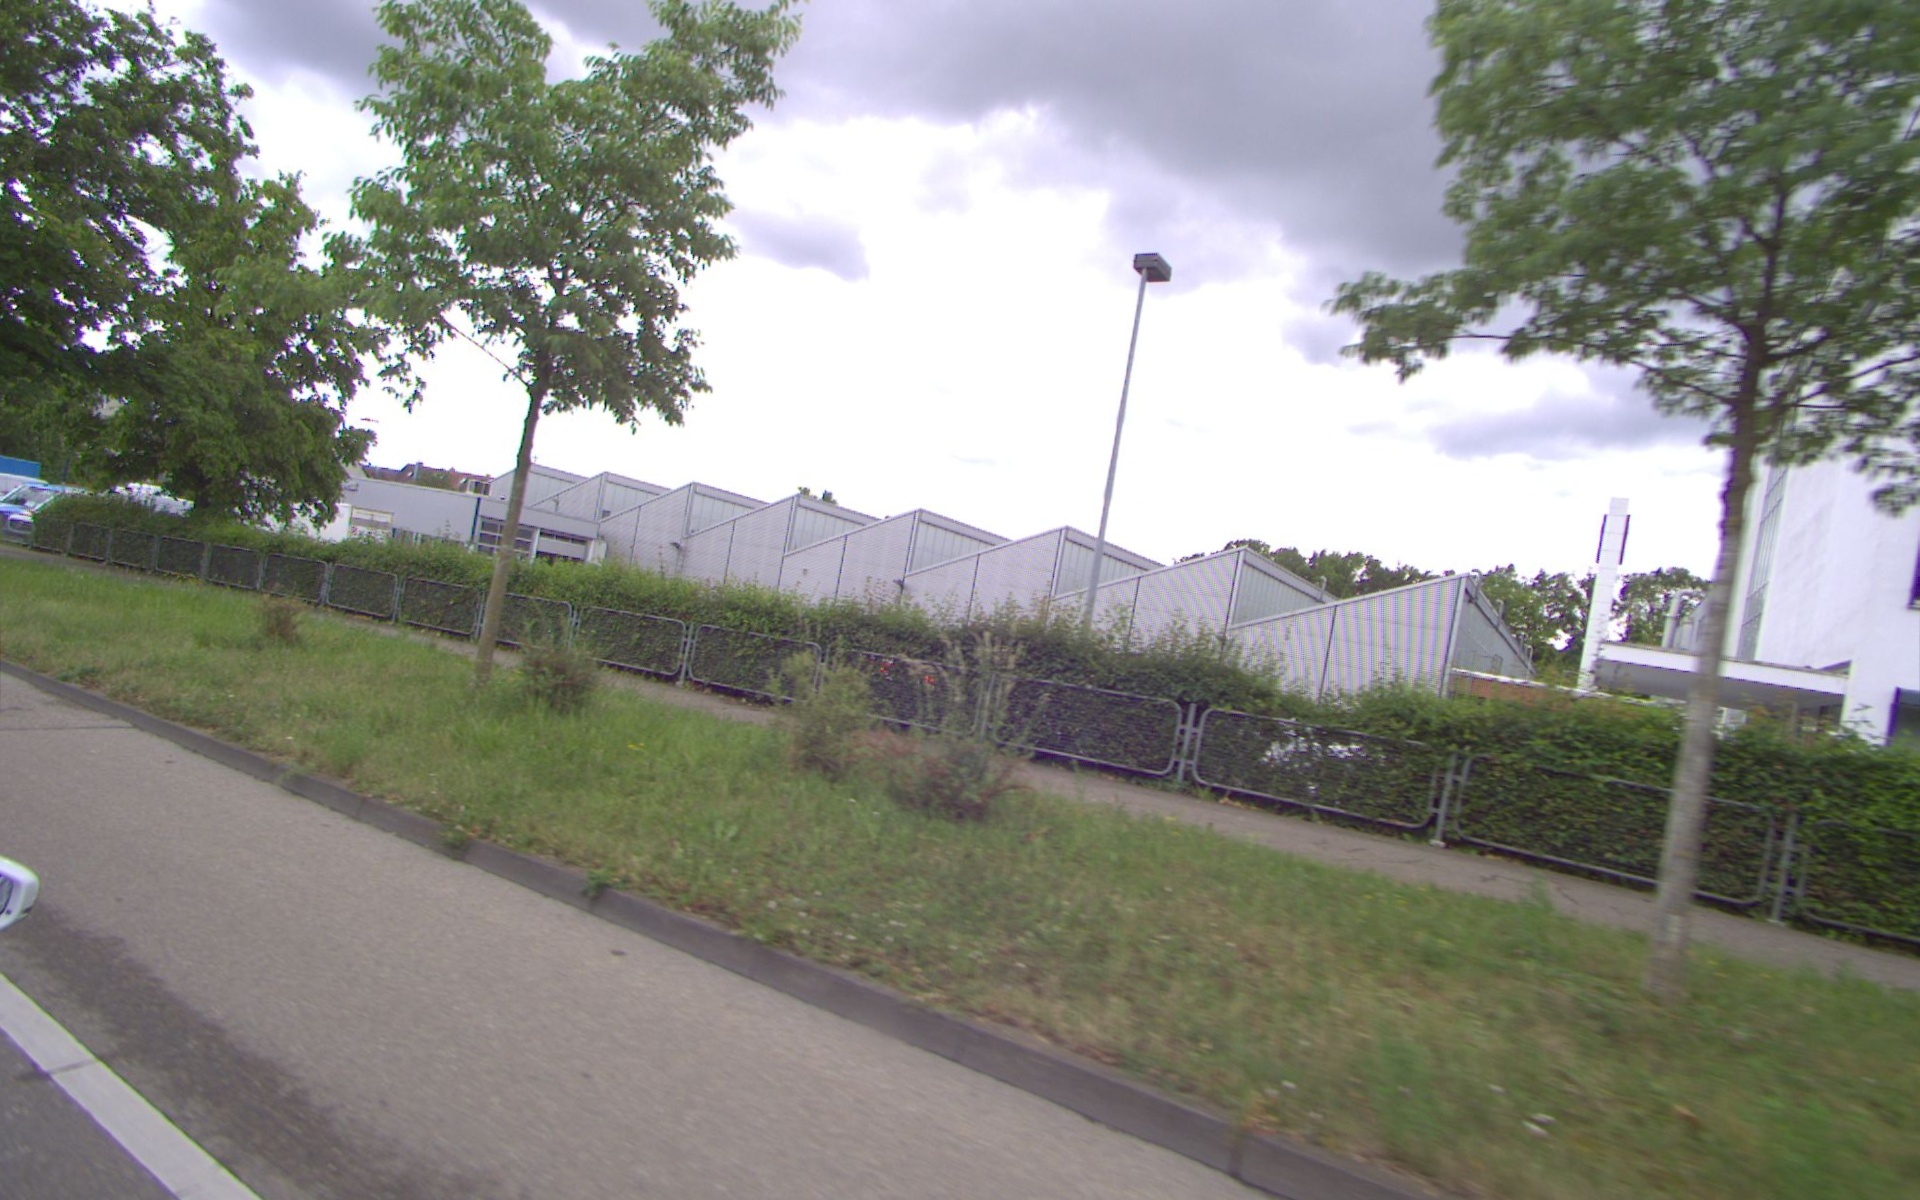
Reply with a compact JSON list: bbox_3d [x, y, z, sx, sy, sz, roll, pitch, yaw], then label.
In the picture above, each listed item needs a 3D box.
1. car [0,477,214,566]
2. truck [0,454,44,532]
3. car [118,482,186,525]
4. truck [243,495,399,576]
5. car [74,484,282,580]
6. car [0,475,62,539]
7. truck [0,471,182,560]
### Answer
[{"bbox_3d":[-28.839,-2.549,34.040,2.032,1.978,5.836,8,-2,9],"label":"car"},{"bbox_3d":[-47.446,-5.460,46.595,2.569,3.518,7.193,8,-1,6],"label":"truck"},{"bbox_3d":[-62.401,-7.396,77.817,2.232,2.709,5.422,8,1,-20],"label":"car"},{"bbox_3d":[-36.593,-3.719,57.520,9.374,3.498,2.862,7,-2,28],"label":"truck"},{"bbox_3d":[-25.170,-2.083,32.719,2.032,2.212,5.269,8,-2,6],"label":"car"},{"bbox_3d":[-41.391,-4.229,41.666,2.317,2.393,6.039,8,-2,7],"label":"car"},{"bbox_3d":[-31.708,-2.981,36.126,2.205,2.237,6.261,8,-2,3],"label":"truck"}]
